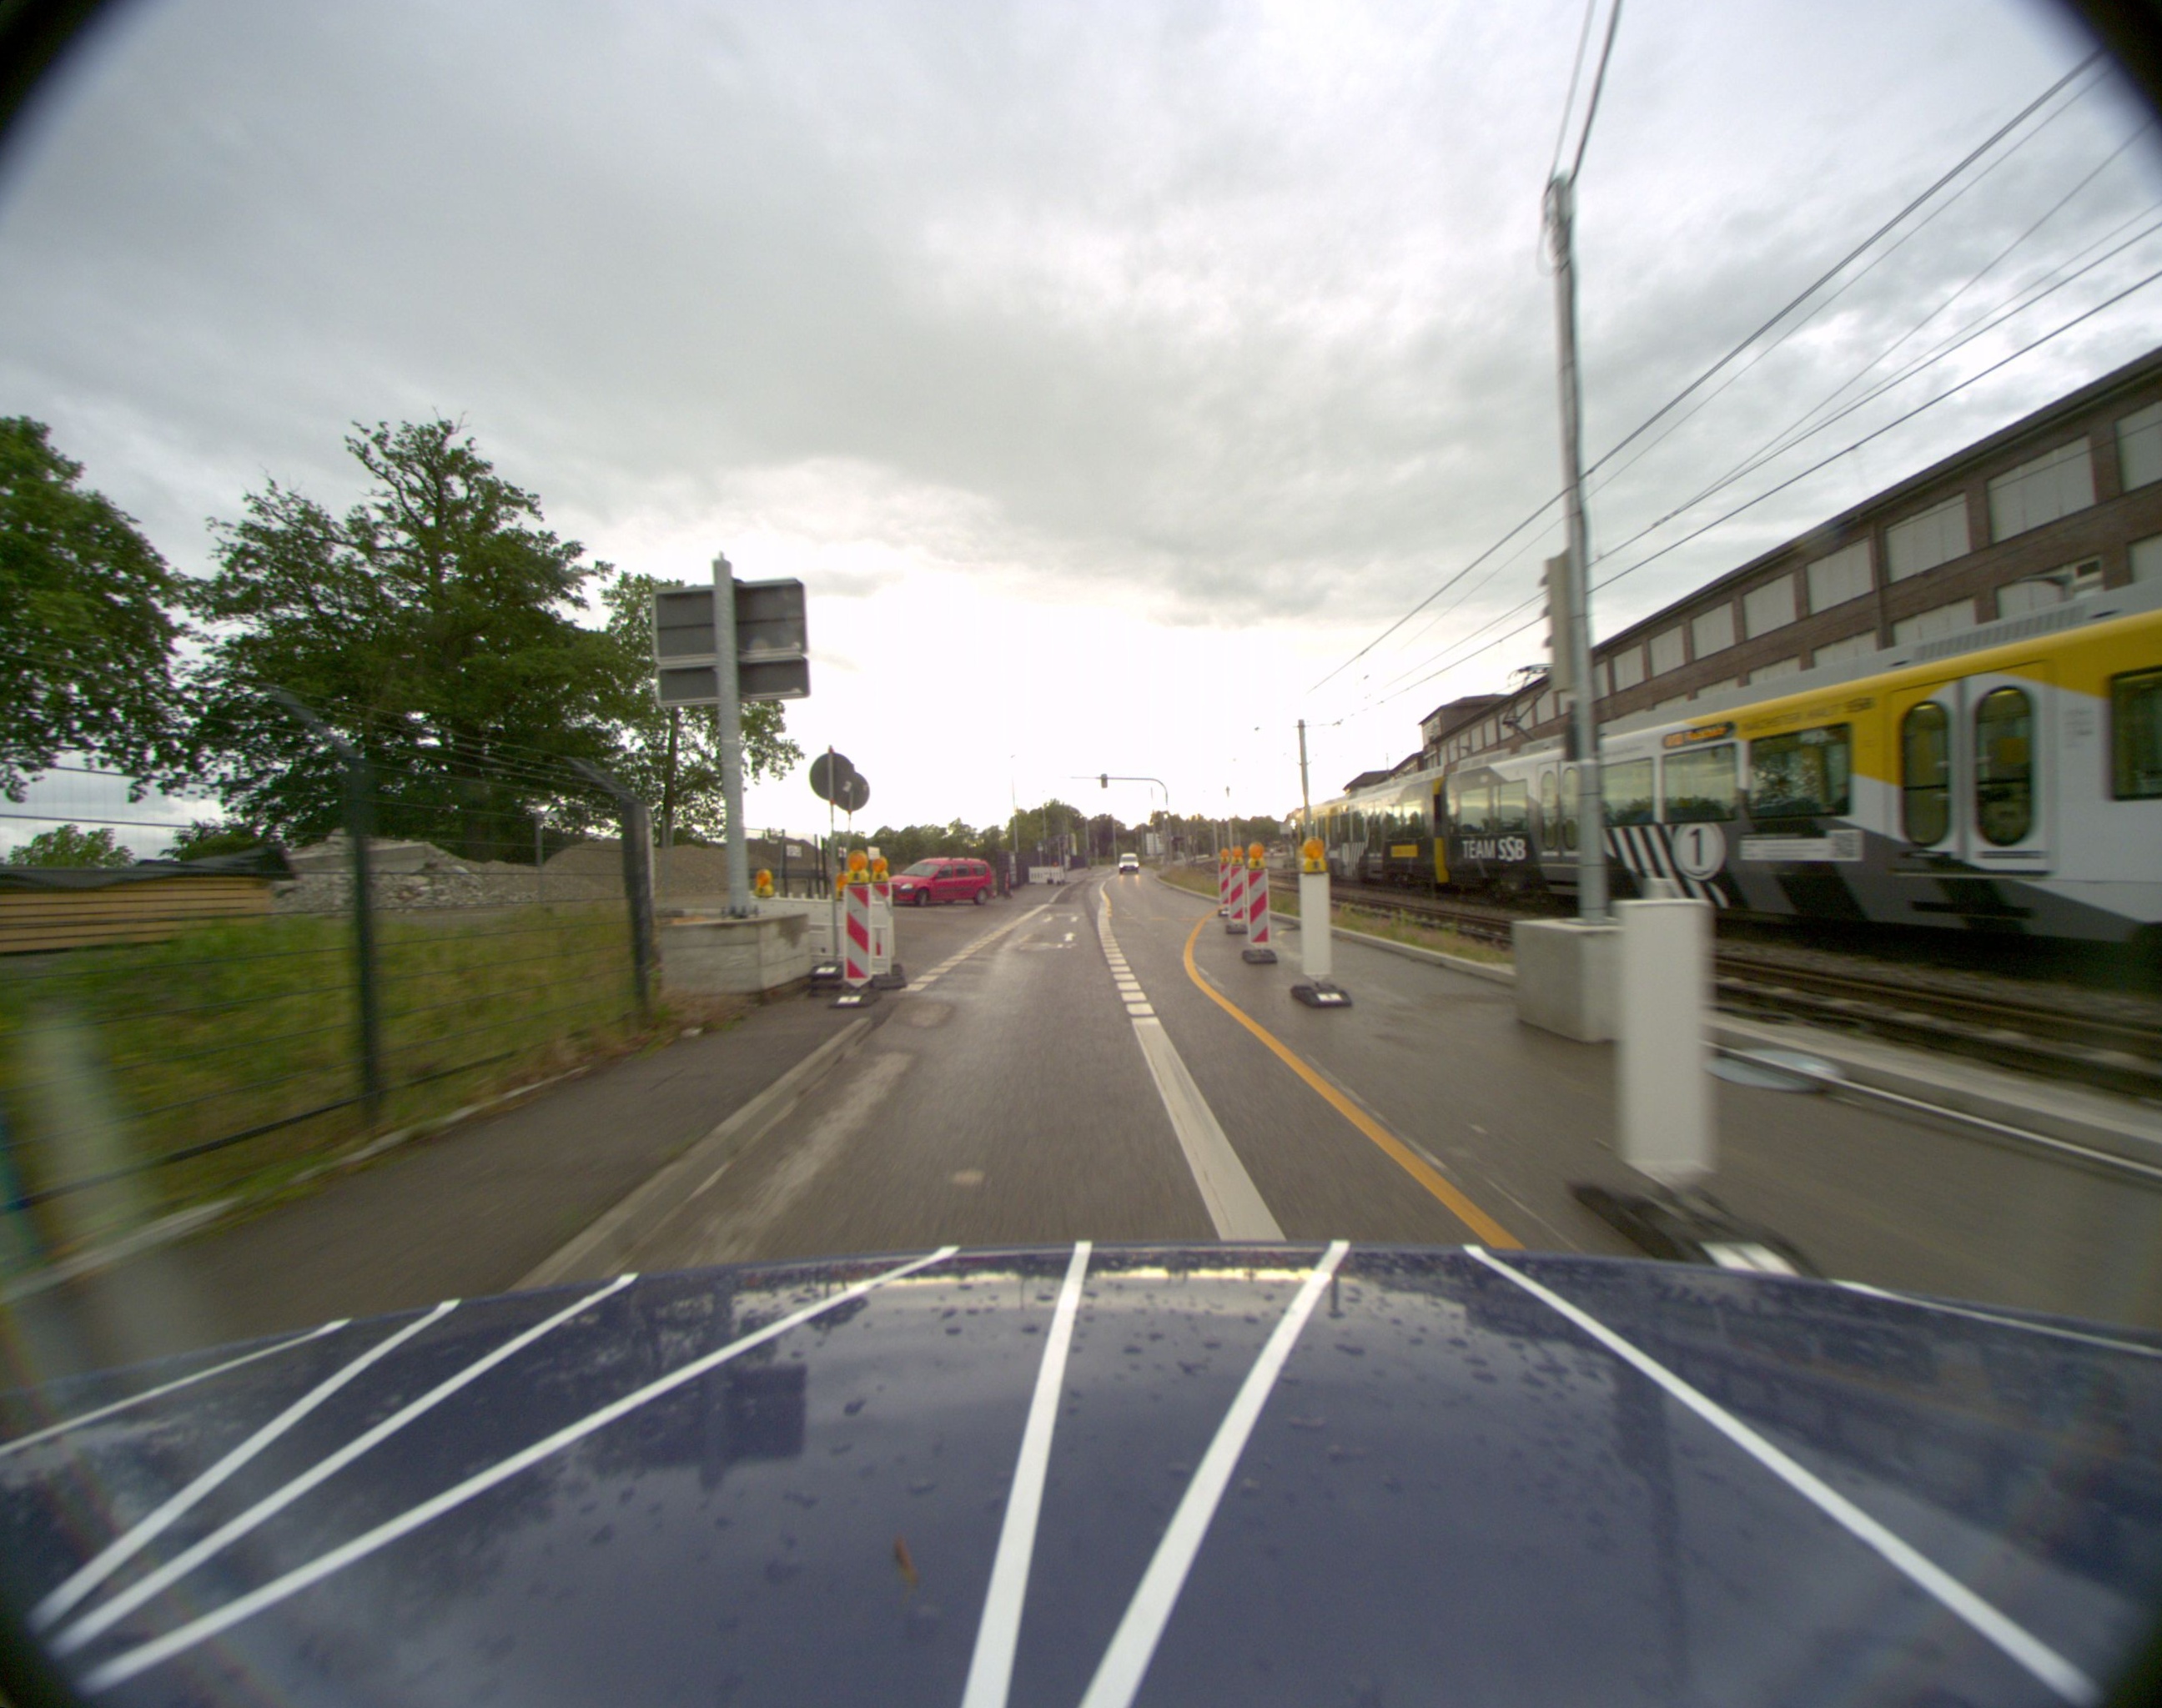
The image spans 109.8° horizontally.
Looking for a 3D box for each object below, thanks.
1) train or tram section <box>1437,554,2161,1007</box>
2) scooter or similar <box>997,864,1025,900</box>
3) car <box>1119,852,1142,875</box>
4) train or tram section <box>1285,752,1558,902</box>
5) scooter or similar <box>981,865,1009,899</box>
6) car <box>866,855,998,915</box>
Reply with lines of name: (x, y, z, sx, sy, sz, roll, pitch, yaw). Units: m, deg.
train or tram section: (10.885, -0.716, 10.925, 2.962, 3.863, 19.292, -4, 0, 2)
scooter or similar: (-2.854, 1.125, 31.075, 0.616, 1.343, 1.913, -3, 0, 8)
car: (4.610, 0.897, 71.499, 1.998, 2.002, 3.999, -2, 1, 1)
train or tram section: (11.832, -0.759, 30.347, 2.962, 3.863, 19.575, -4, 0, 3)
scooter or similar: (-3.562, 1.144, 31.682, 0.616, 1.343, 1.913, -3, 0, 8)
car: (-5.004, 1.008, 26.169, 1.820, 1.783, 4.417, -3, 0, 33)
